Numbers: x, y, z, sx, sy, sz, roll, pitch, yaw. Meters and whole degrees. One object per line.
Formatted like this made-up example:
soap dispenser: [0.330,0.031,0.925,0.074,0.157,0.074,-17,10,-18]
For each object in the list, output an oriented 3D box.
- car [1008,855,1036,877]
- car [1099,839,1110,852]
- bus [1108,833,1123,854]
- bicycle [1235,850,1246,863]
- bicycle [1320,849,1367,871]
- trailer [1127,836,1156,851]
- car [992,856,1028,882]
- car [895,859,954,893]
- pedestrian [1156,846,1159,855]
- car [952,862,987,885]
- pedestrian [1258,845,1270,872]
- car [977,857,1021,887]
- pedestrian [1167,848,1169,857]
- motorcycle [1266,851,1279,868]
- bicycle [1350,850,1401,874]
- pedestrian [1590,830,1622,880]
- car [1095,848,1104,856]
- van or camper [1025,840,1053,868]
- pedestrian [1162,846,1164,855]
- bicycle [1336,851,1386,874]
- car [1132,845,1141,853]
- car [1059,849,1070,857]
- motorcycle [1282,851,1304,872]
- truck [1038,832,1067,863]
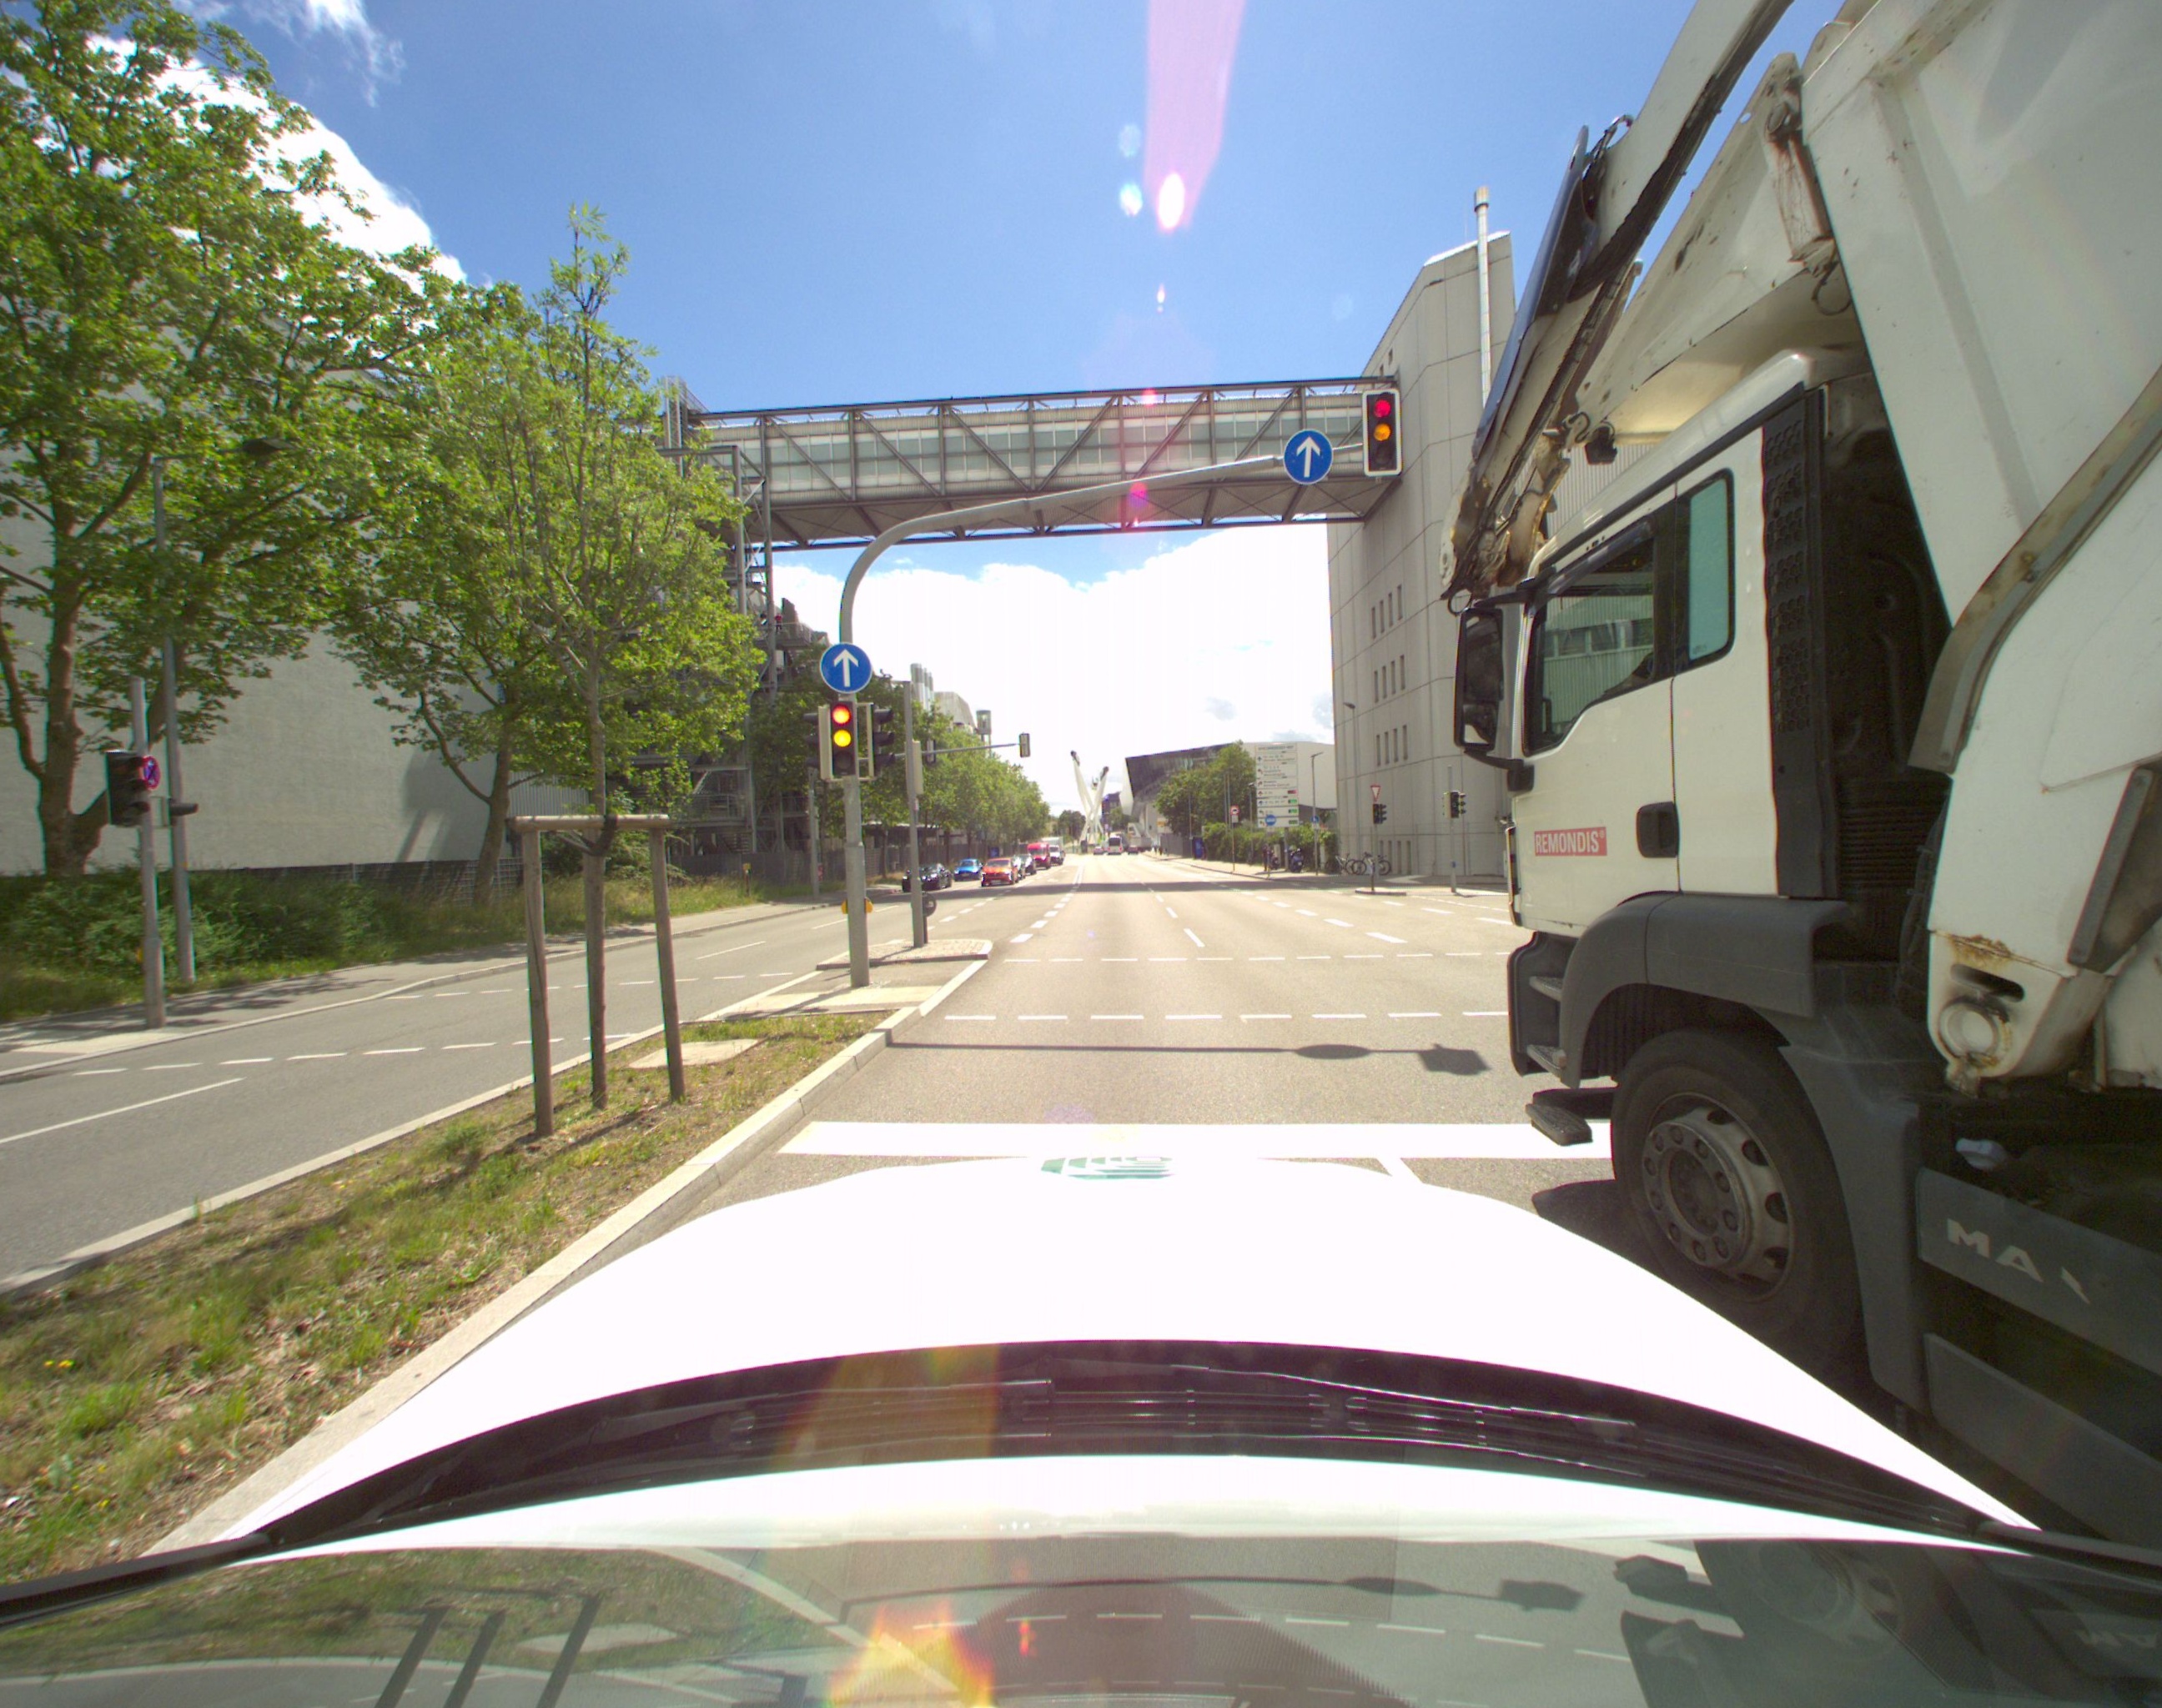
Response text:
car: [-4.348,0.874,60.811,1.551,1.448,3.775,-4,0,3]
car: [4.991,-1.824,171.890,1.834,2.624,4.007,0,-1,7]
bus: [6.340,-1.950,150.135,2.776,3.686,6.947,0,-1,3]
bicycle: [12.728,0.187,65.123,0.417,1.022,1.911,0,-1,-2]
bicycle: [13.085,0.289,40.697,2.196,1.086,0.480,-1,-1,37]
trailer: [12.869,-2.174,172.160,3.291,2.995,10.429,-1,-1,21]
car: [-4.476,0.920,51.867,1.762,1.420,3.704,-4,0,3]
car: [-8.189,1.111,43.121,1.910,1.488,4.775,-4,0,3]
pedestrian: [12.473,-0.583,132.618,0.384,1.421,0.424,0,-1,2]
car: [-7.696,1.340,56.489,1.720,1.382,3.704,-4,0,3]
pedestrian: [11.178,0.254,49.704,0.532,1.640,0.657,0,-1,-4]
car: [-4.368,0.923,43.985,1.762,1.420,3.704,-4,0,3]
pedestrian: [14.127,-0.287,132.455,0.384,1.421,0.424,0,-1,2]
motorcycle: [12.176,0.349,51.865,0.455,1.022,1.914,0,-1,4]
bicycle: [13.867,0.390,38.388,2.166,1.086,0.480,-1,-1,37]
pedestrian: [19.493,0.043,30.244,0.705,1.793,0.645,-4,0,13]
car: [3.391,-0.334,148.908,1.551,1.273,3.704,-4,0,3]
van or camper: [-3.889,0.018,76.166,2.038,2.466,5.598,-1,0,3]
pedestrian: [12.947,-0.620,128.635,0.384,1.421,0.424,0,-1,2]
bicycle: [13.519,0.412,39.353,2.196,1.086,0.480,-1,-1,37]
car: [9.911,-0.910,146.306,1.551,1.273,3.704,-4,0,3]
car: [-2.899,-0.180,145.029,1.551,1.273,3.704,-4,0,3]
motorcycle: [11.652,0.408,44.888,0.418,1.166,1.951,0,-1,-9]
truck: [-3.072,-0.675,89.819,2.581,3.324,7.083,0,-1,3]
